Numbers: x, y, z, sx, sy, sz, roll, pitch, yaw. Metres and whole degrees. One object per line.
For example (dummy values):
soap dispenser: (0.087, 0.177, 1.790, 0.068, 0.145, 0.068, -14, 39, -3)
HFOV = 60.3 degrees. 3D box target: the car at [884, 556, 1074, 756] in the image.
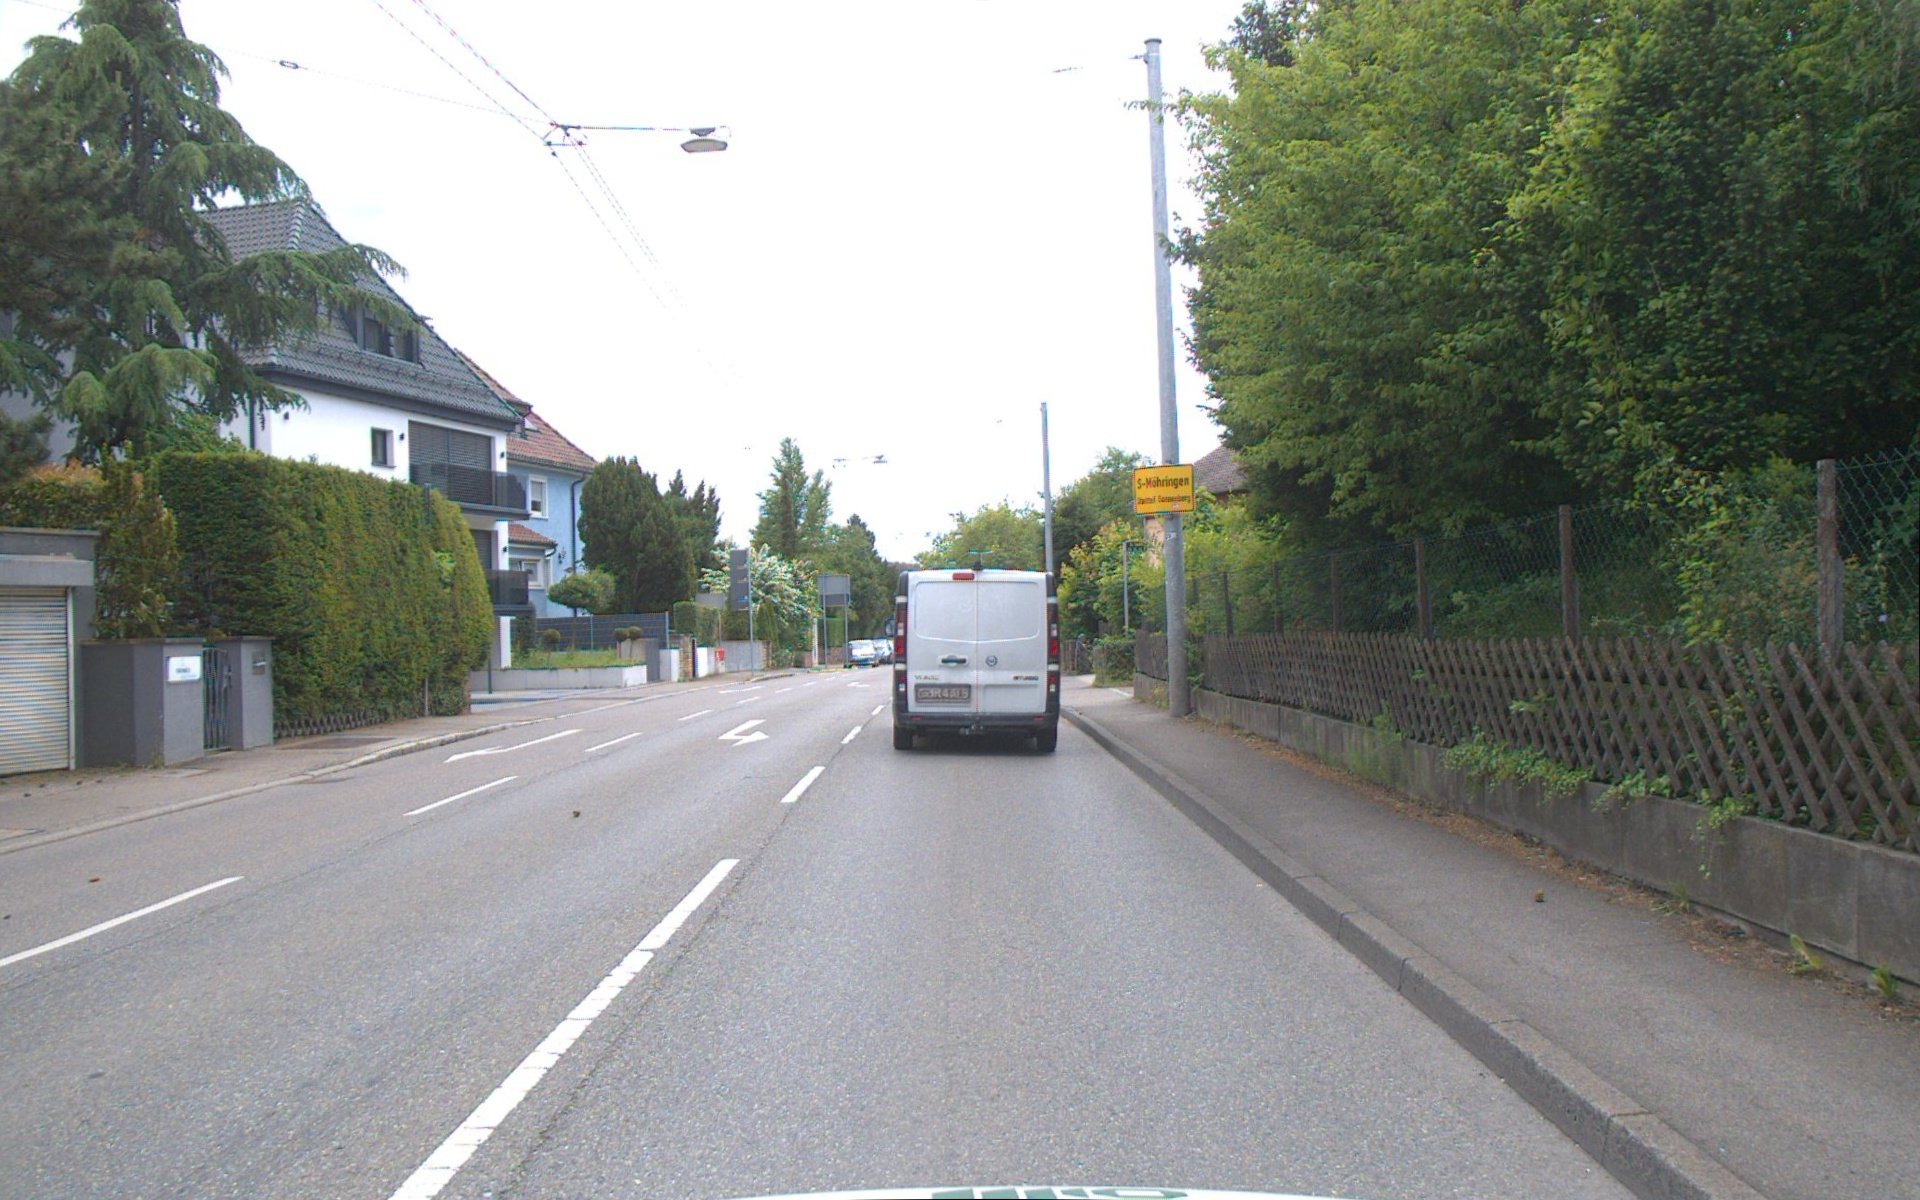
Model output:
car: (0.191, 0.600, 19.779, 1.965, 2.073, 5.009, 1, 0, 0)

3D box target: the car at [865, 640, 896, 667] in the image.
car: (-4.958, 3.354, 103.404, 1.644, 1.583, 3.971, -3, -2, 0)

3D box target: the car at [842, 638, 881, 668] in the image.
car: (-5.243, 2.819, 88.810, 1.773, 1.481, 4.412, -4, -1, -1)
